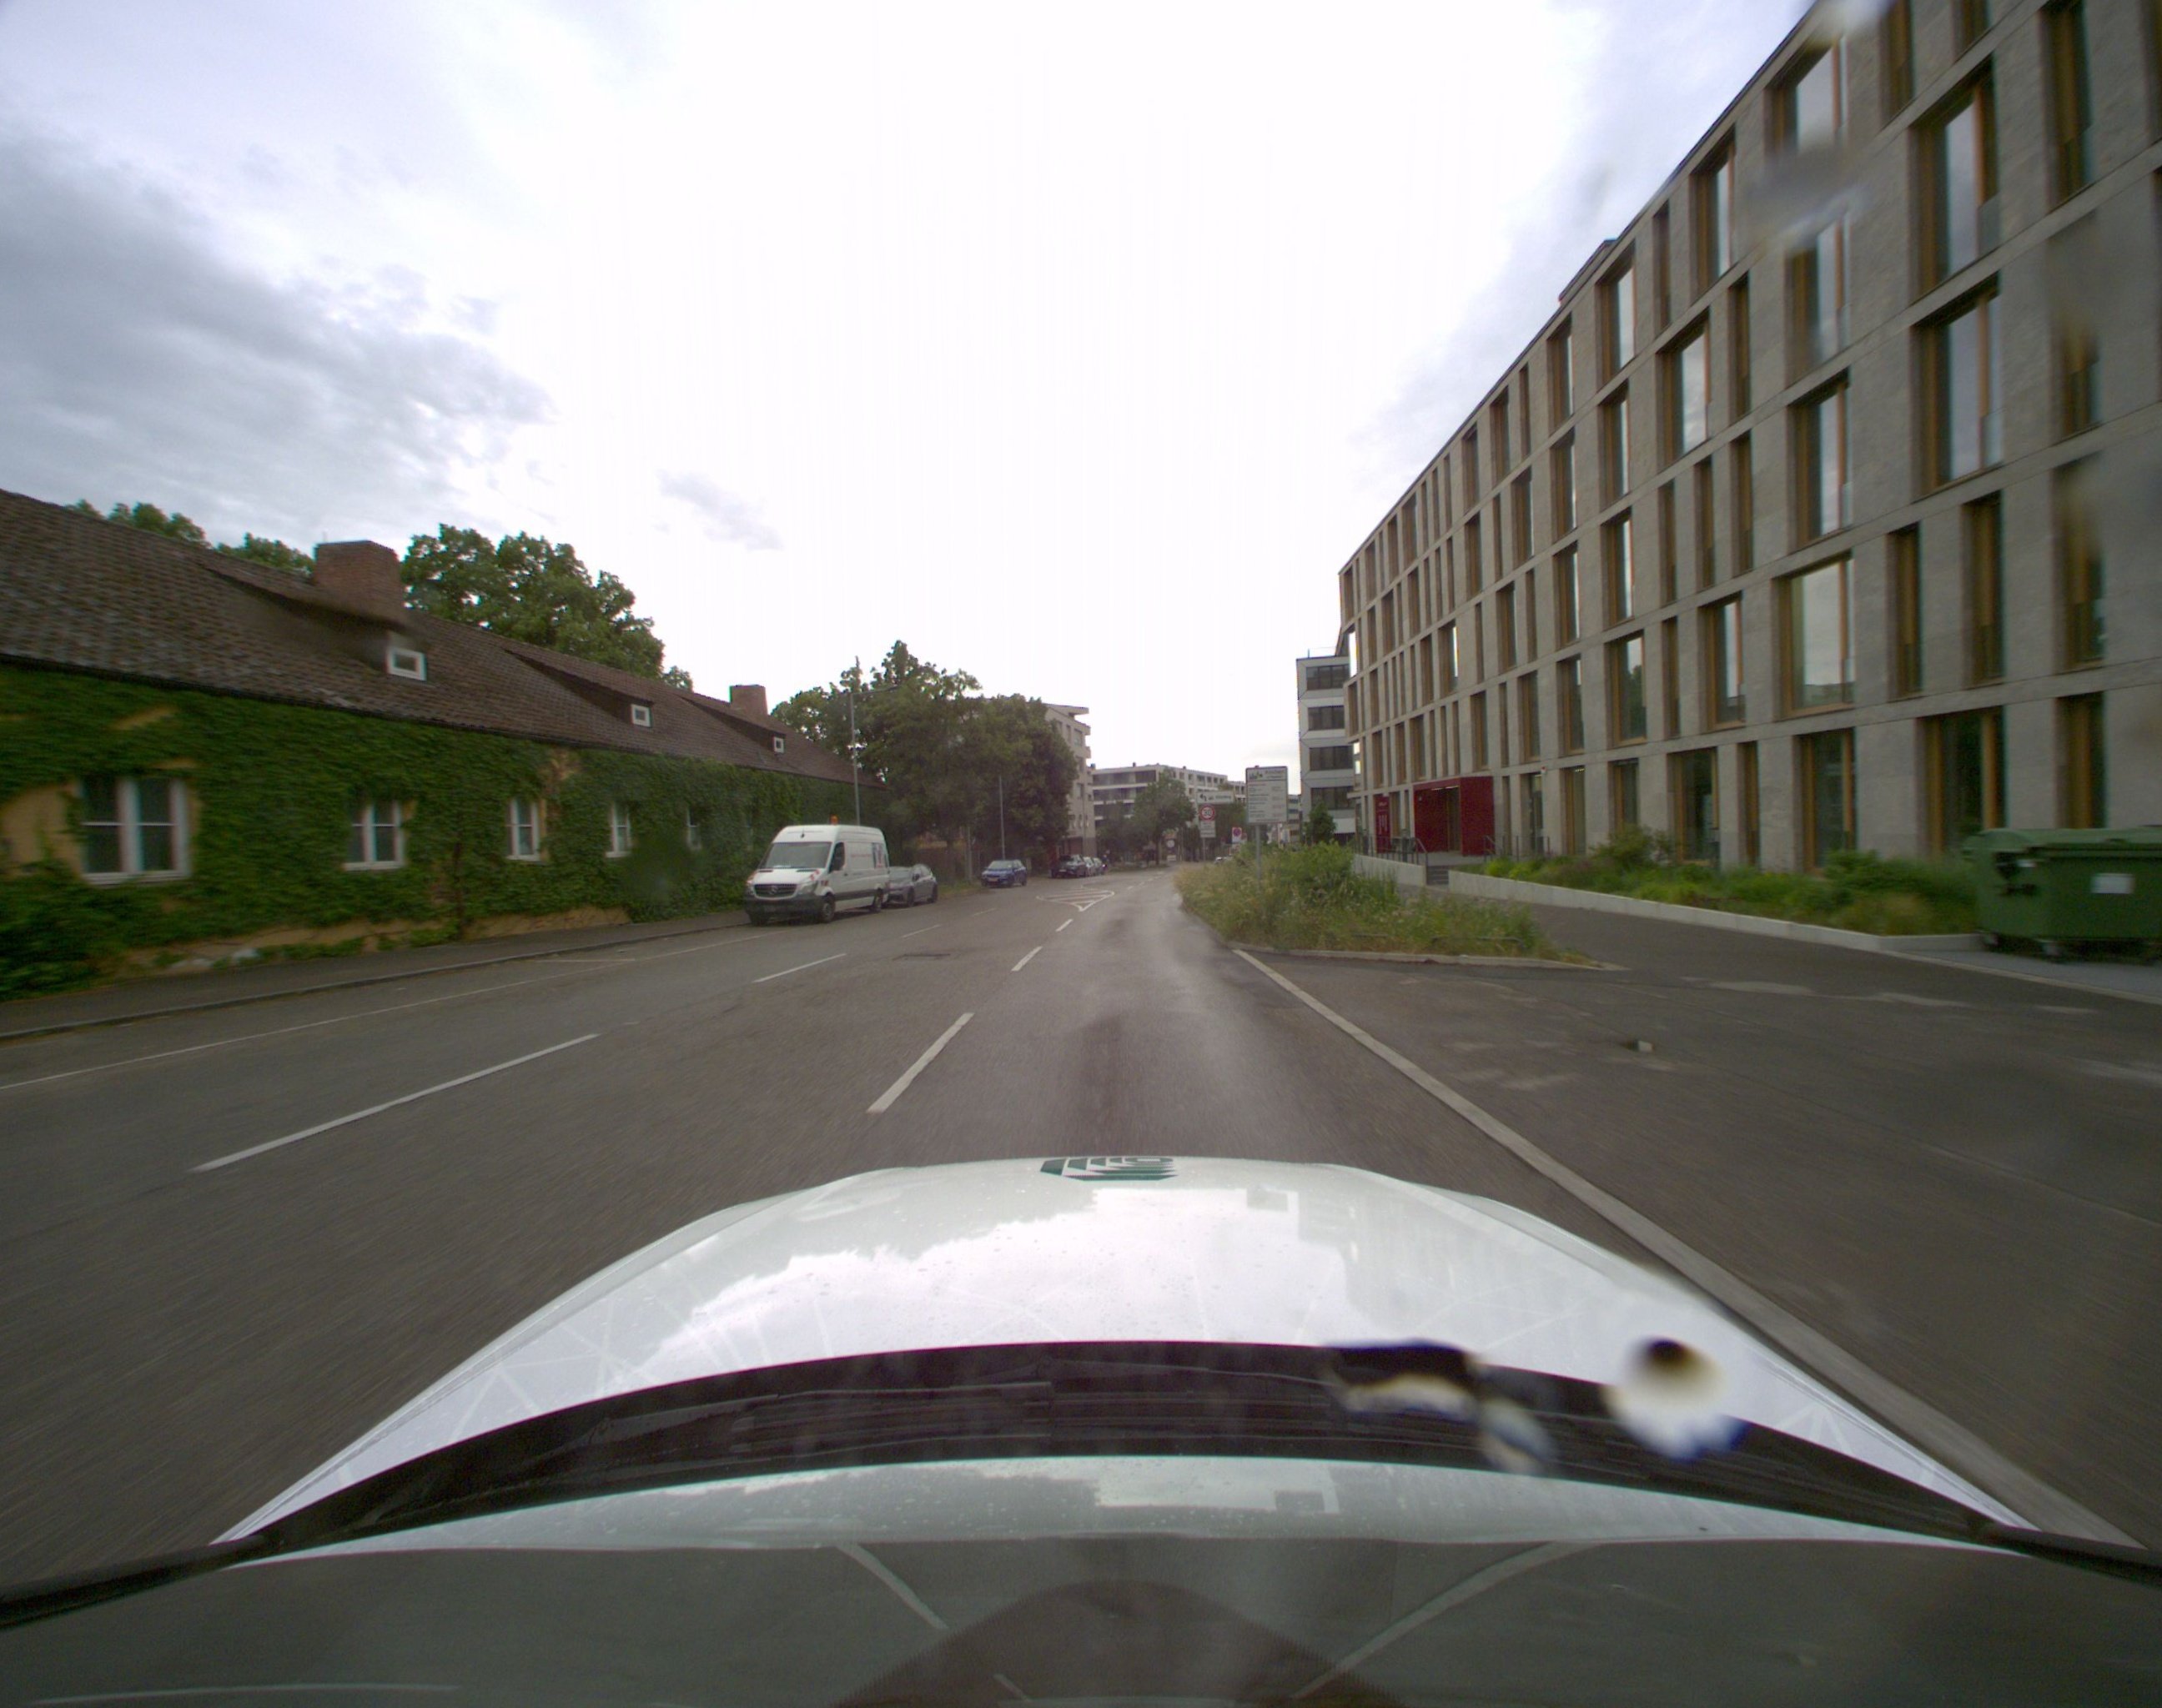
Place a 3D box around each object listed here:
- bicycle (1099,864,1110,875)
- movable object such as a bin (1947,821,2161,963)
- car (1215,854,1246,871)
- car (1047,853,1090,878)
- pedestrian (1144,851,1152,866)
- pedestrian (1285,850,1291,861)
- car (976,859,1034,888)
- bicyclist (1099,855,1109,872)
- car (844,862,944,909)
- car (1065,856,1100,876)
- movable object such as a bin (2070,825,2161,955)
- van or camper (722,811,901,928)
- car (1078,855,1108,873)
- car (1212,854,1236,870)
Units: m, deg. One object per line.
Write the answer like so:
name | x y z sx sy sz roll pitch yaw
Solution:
bicycle | 2.163 1.446 74.662 0.797 0.979 2.259 -1 -1 7
movable object such as a bin | 10.934 0.402 9.141 1.238 1.458 1.114 2 0 12
car | 13.066 0.728 71.245 2.037 1.458 4.055 -1 0 1
car | -0.851 0.848 61.020 1.980 1.786 5.429 -1 -1 12
pedestrian | 9.505 0.641 115.375 1.050 2.014 1.101 -1 -1 4
pedestrian | 34.738 0.193 136.683 0.816 1.796 1.214 -2 -1 19
car | -4.046 1.042 44.168 1.980 1.470 4.199 -1 -1 11
bicyclist | 2.150 0.835 74.623 0.797 1.523 1.204 -1 -1 6
car | -6.441 1.039 28.553 1.983 1.512 4.432 -1 -1 7
car | 0.172 0.994 66.913 1.976 1.593 4.504 -1 -1 12
movable object such as a bin | 12.239 0.407 9.058 1.090 1.399 1.153 2 0 12
van or camper | -7.118 0.361 22.477 2.328 2.765 6.152 -1 0 6
car | 1.058 0.875 71.312 1.867 1.463 3.860 -1 -1 12
car | 13.697 0.767 77.909 2.026 1.464 4.517 -1 0 12
